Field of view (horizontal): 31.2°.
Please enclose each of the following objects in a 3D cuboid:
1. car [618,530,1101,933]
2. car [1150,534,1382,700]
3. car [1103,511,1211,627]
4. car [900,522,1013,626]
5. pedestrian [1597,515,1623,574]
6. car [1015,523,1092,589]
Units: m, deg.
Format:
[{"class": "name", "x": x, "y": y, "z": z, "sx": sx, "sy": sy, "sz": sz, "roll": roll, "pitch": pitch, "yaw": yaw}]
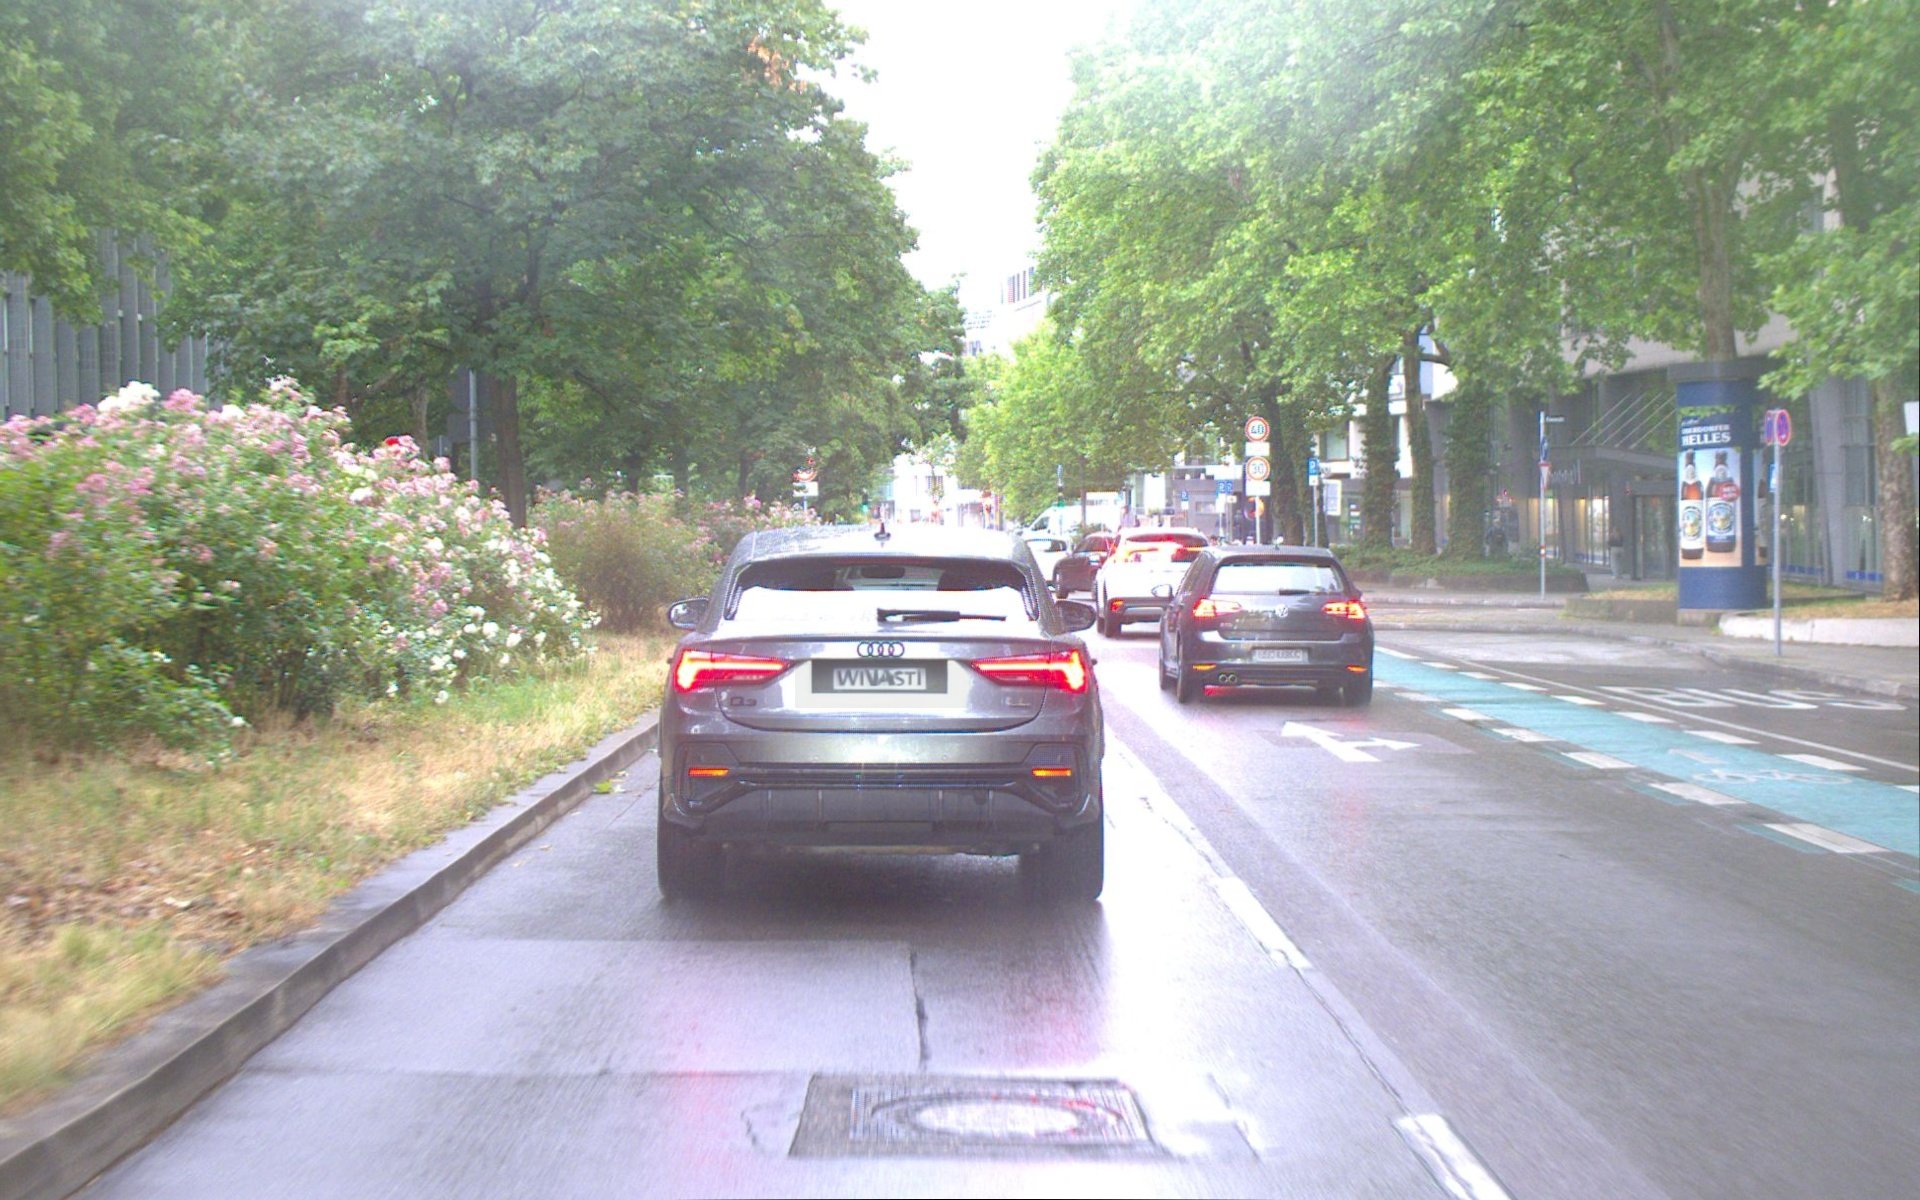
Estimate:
[{"class": "car", "x": -0.346, "y": 0.460, "z": 15.518, "sx": 1.863, "sy": 1.527, "sz": 4.527, "roll": 0, "pitch": 2, "yaw": 1}, {"class": "car", "x": 2.799, "y": 0.108, "z": 32.208, "sx": 1.765, "sy": 1.408, "sz": 4.000, "roll": -1, "pitch": 2, "yaw": -1}, {"class": "car", "x": 2.951, "y": -0.499, "z": 51.894, "sx": 1.433, "sy": 1.679, "sz": 2.979, "roll": -1, "pitch": 1, "yaw": 0}, {"class": "car", "x": -0.068, "y": -0.444, "z": 54.483, "sx": 1.721, "sy": 1.572, "sz": 3.962, "roll": 0, "pitch": 1, "yaw": 0}, {"class": "pedestrian", "x": 19.856, "y": -1.690, "z": 105.019, "sx": 0.650, "sy": 1.809, "sz": 0.655, "roll": 0, "pitch": 1, "yaw": -1}, {"class": "car", "x": 2.539, "y": -1.223, "z": 93.918, "sx": 1.993, "sy": 1.744, "sz": 4.000, "roll": 0, "pitch": 1, "yaw": 0}]
